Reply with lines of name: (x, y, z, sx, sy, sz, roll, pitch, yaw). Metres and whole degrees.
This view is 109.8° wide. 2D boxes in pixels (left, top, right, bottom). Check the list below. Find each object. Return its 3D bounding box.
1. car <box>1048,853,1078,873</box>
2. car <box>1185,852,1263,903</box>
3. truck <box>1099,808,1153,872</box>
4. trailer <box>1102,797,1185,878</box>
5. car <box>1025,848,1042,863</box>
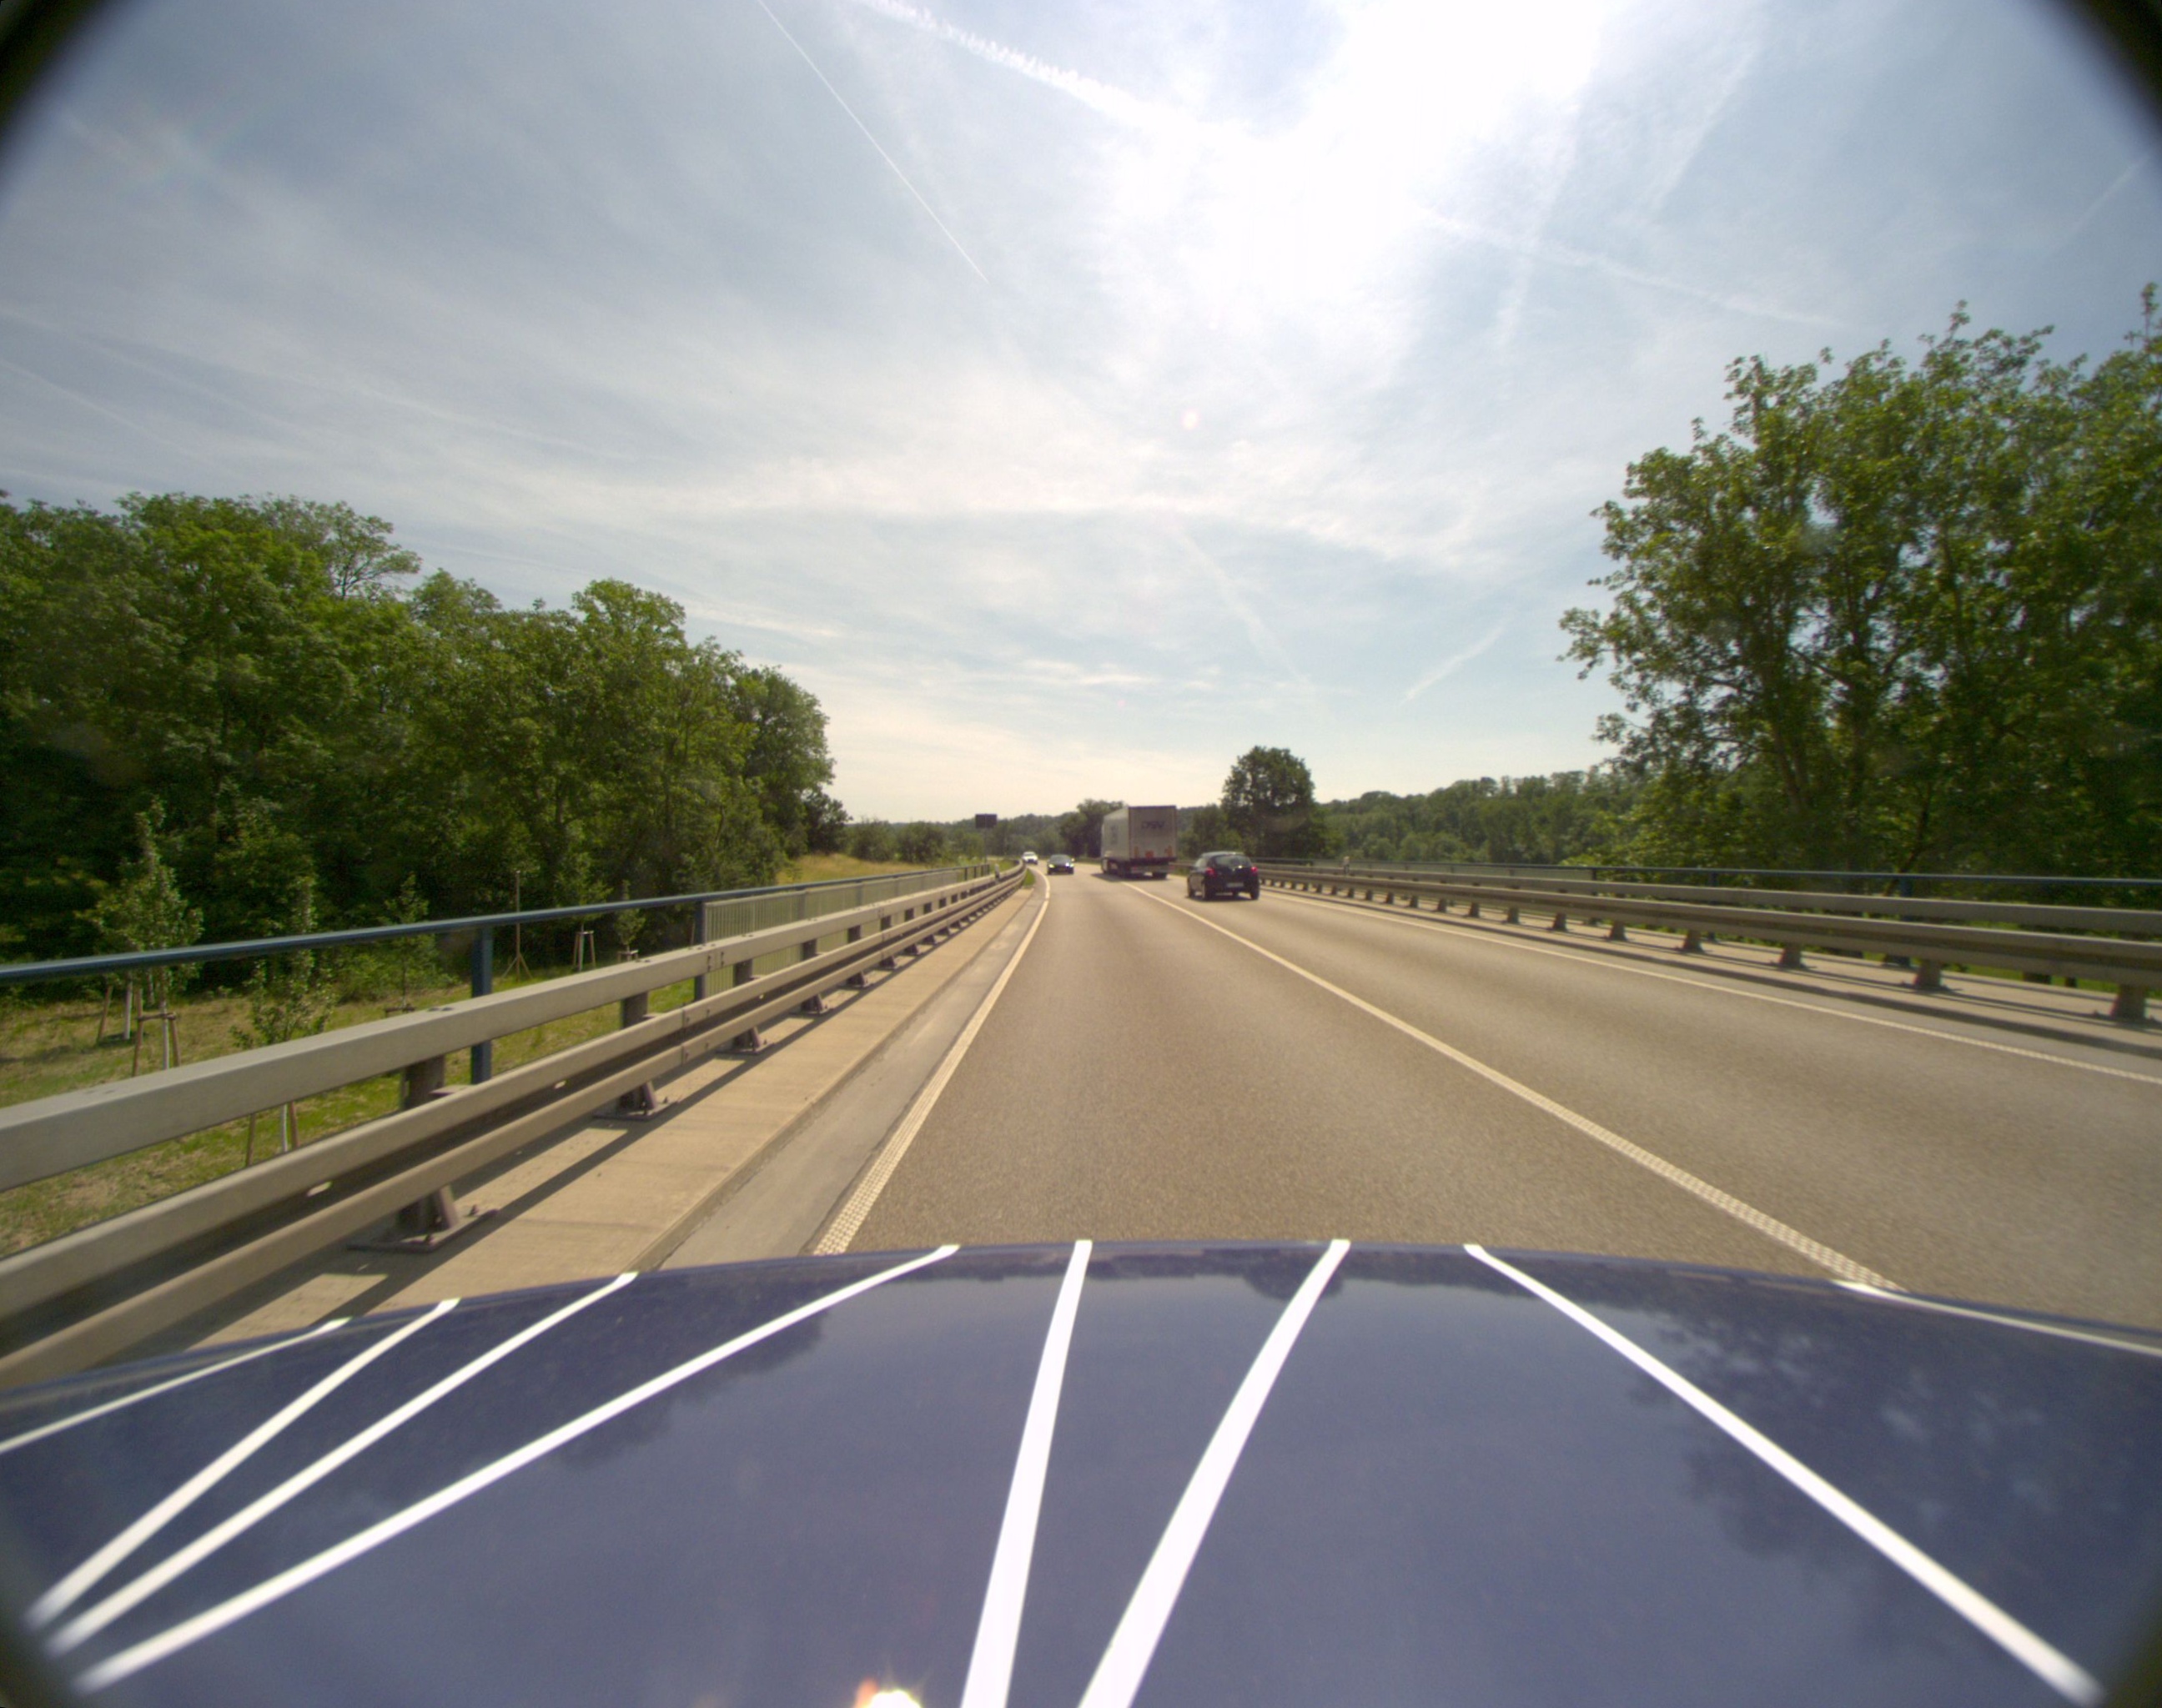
car: (-1.332, 0.607, 55.096, 1.981, 1.333, 3.998, -2, 0, -4)
car: (4.462, 0.685, 24.312, 1.665, 1.449, 3.893, -2, 0, -1)
truck: (3.047, -0.942, 53.256, 2.854, 4.136, 6.328, -2, 0, -4)
trailer: (3.490, -0.913, 46.903, 2.861, 4.164, 14.490, -2, 1, -4)
car: (-6.166, 0.203, 98.531, 1.981, 1.779, 3.997, -2, 1, -7)
